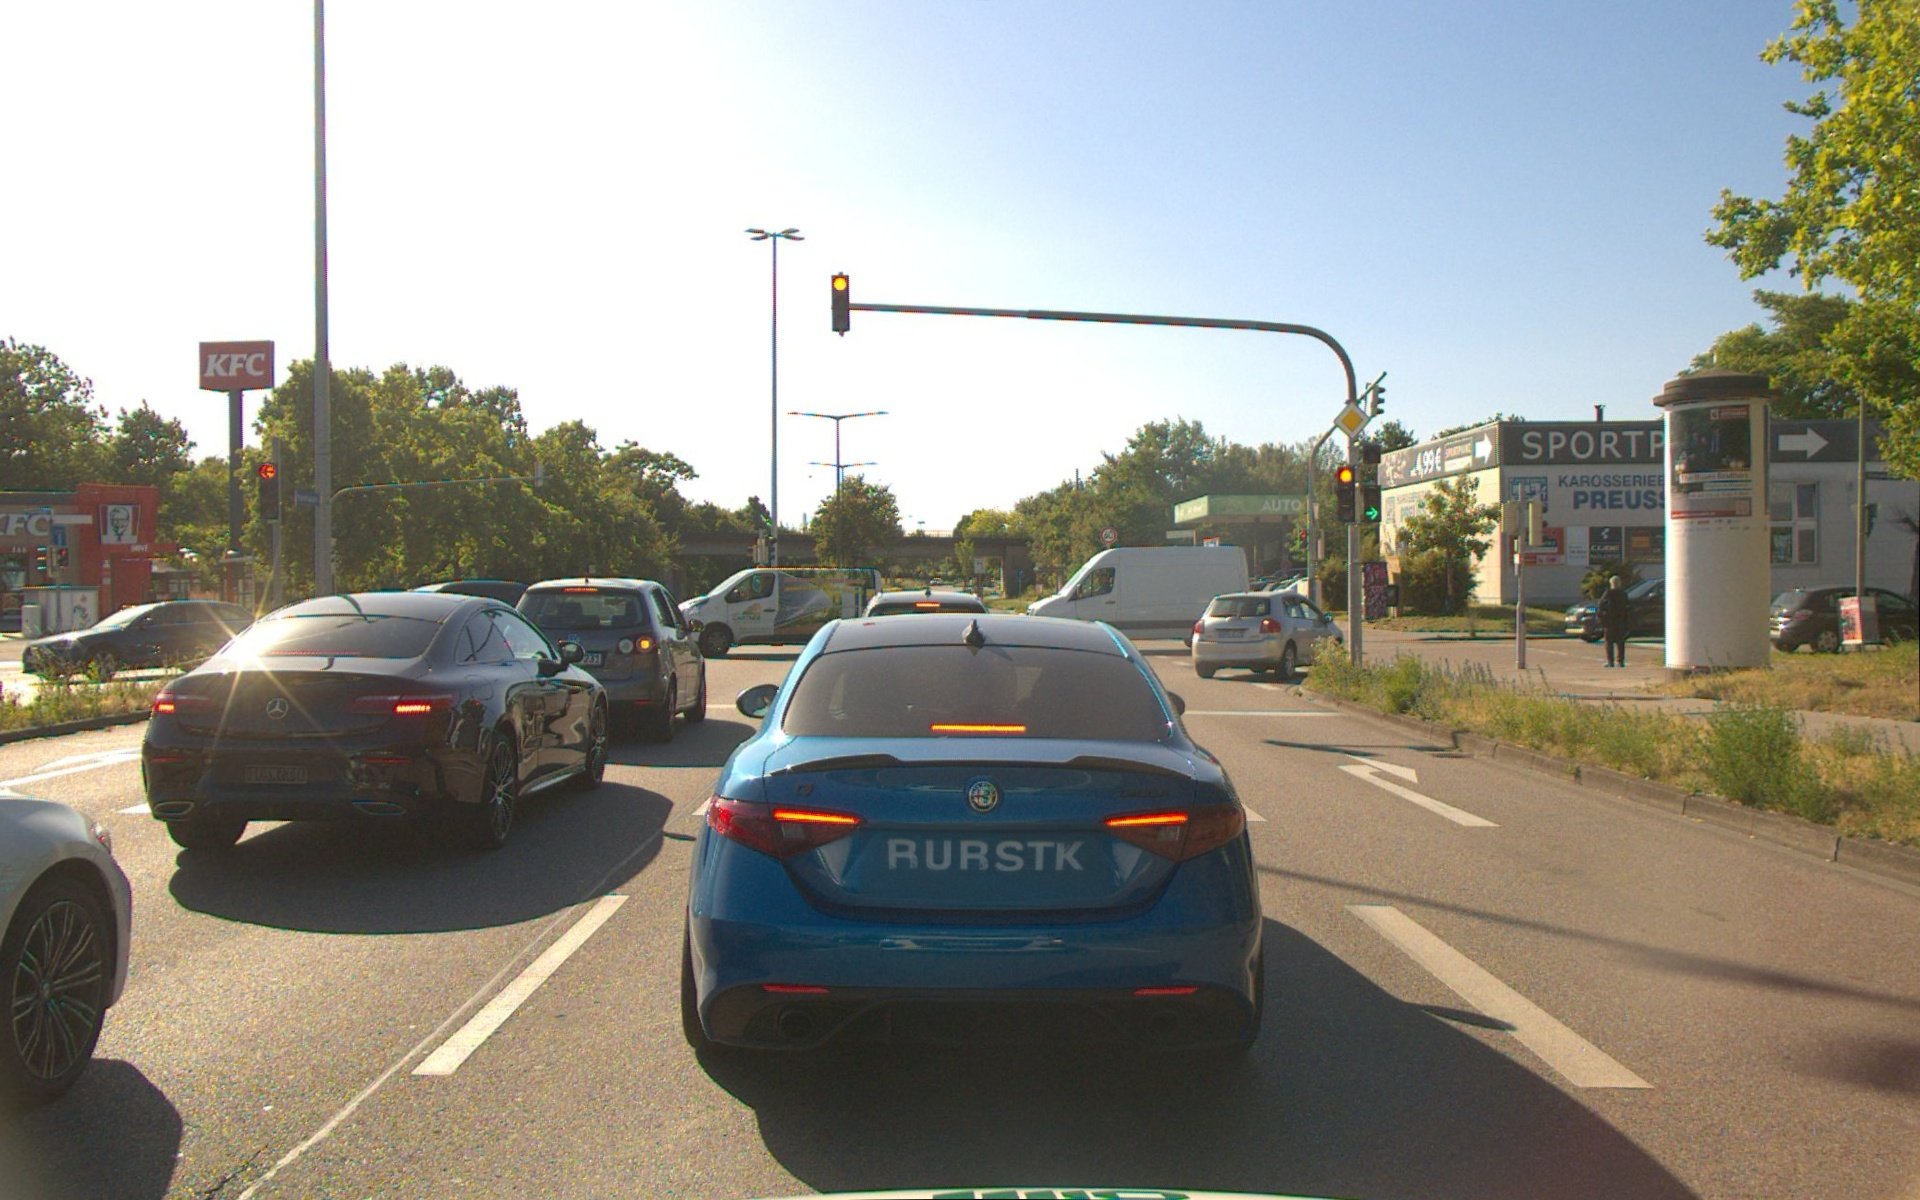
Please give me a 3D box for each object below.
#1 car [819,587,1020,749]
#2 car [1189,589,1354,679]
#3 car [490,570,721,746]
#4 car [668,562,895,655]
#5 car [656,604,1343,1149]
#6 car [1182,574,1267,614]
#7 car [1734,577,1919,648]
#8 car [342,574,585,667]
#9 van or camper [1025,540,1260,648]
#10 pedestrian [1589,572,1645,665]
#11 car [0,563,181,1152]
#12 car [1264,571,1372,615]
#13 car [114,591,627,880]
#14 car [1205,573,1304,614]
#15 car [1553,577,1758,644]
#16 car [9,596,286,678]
[{"bbox_3d":[-0.394,0.606,17.052,1.828,1.475,3.931,0,0,-1],"label":"car"},{"bbox_3d":[5.737,0.570,30.125,1.703,1.503,3.982,1,0,31],"label":"car"},{"bbox_3d":[-3.577,0.523,17.325,1.615,1.626,3.931,0,0,-1],"label":"car"},{"bbox_3d":[-4.127,0.162,38.065,4.929,2.049,1.991,0,0,-17],"label":"car"},{"bbox_3d":[0.082,0.746,6.387,1.828,1.409,3.931,0,0,-1],"label":"car"},{"bbox_3d":[11.879,-0.276,74.327,3.428,1.736,1.688,0,0,-16],"label":"car"},{"bbox_3d":[19.121,0.250,36.466,3.931,1.503,1.725,0,0,-27],"label":"car"},{"bbox_3d":[-9.761,0.363,32.803,1.848,1.719,4.418,0,0,37],"label":"car"},{"bbox_3d":[4.650,-0.165,42.716,5.818,2.697,1.999,0,0,-3],"label":"van or camper"},{"bbox_3d":[12.678,0.348,31.937,0.805,1.752,0.854,0,0,6],"label":"pedestrian"},{"bbox_3d":[-3.352,0.683,3.093,1.732,1.535,4.460,0,0,-1],"label":"car"},{"bbox_3d":[14.346,-0.292,66.319,3.923,1.736,1.687,0,0,-17],"label":"car"},{"bbox_3d":[-3.416,0.669,10.567,1.732,1.439,4.460,0,0,-1],"label":"car"},{"bbox_3d":[12.674,-0.282,71.149,3.928,1.736,1.686,0,0,-20],"label":"car"},{"bbox_3d":[17.993,0.251,42.932,4.506,1.682,1.999,0,0,-2],"label":"car"},{"bbox_3d":[-15.952,0.671,32.689,1.872,1.471,4.588,0,0,37],"label":"car"}]
